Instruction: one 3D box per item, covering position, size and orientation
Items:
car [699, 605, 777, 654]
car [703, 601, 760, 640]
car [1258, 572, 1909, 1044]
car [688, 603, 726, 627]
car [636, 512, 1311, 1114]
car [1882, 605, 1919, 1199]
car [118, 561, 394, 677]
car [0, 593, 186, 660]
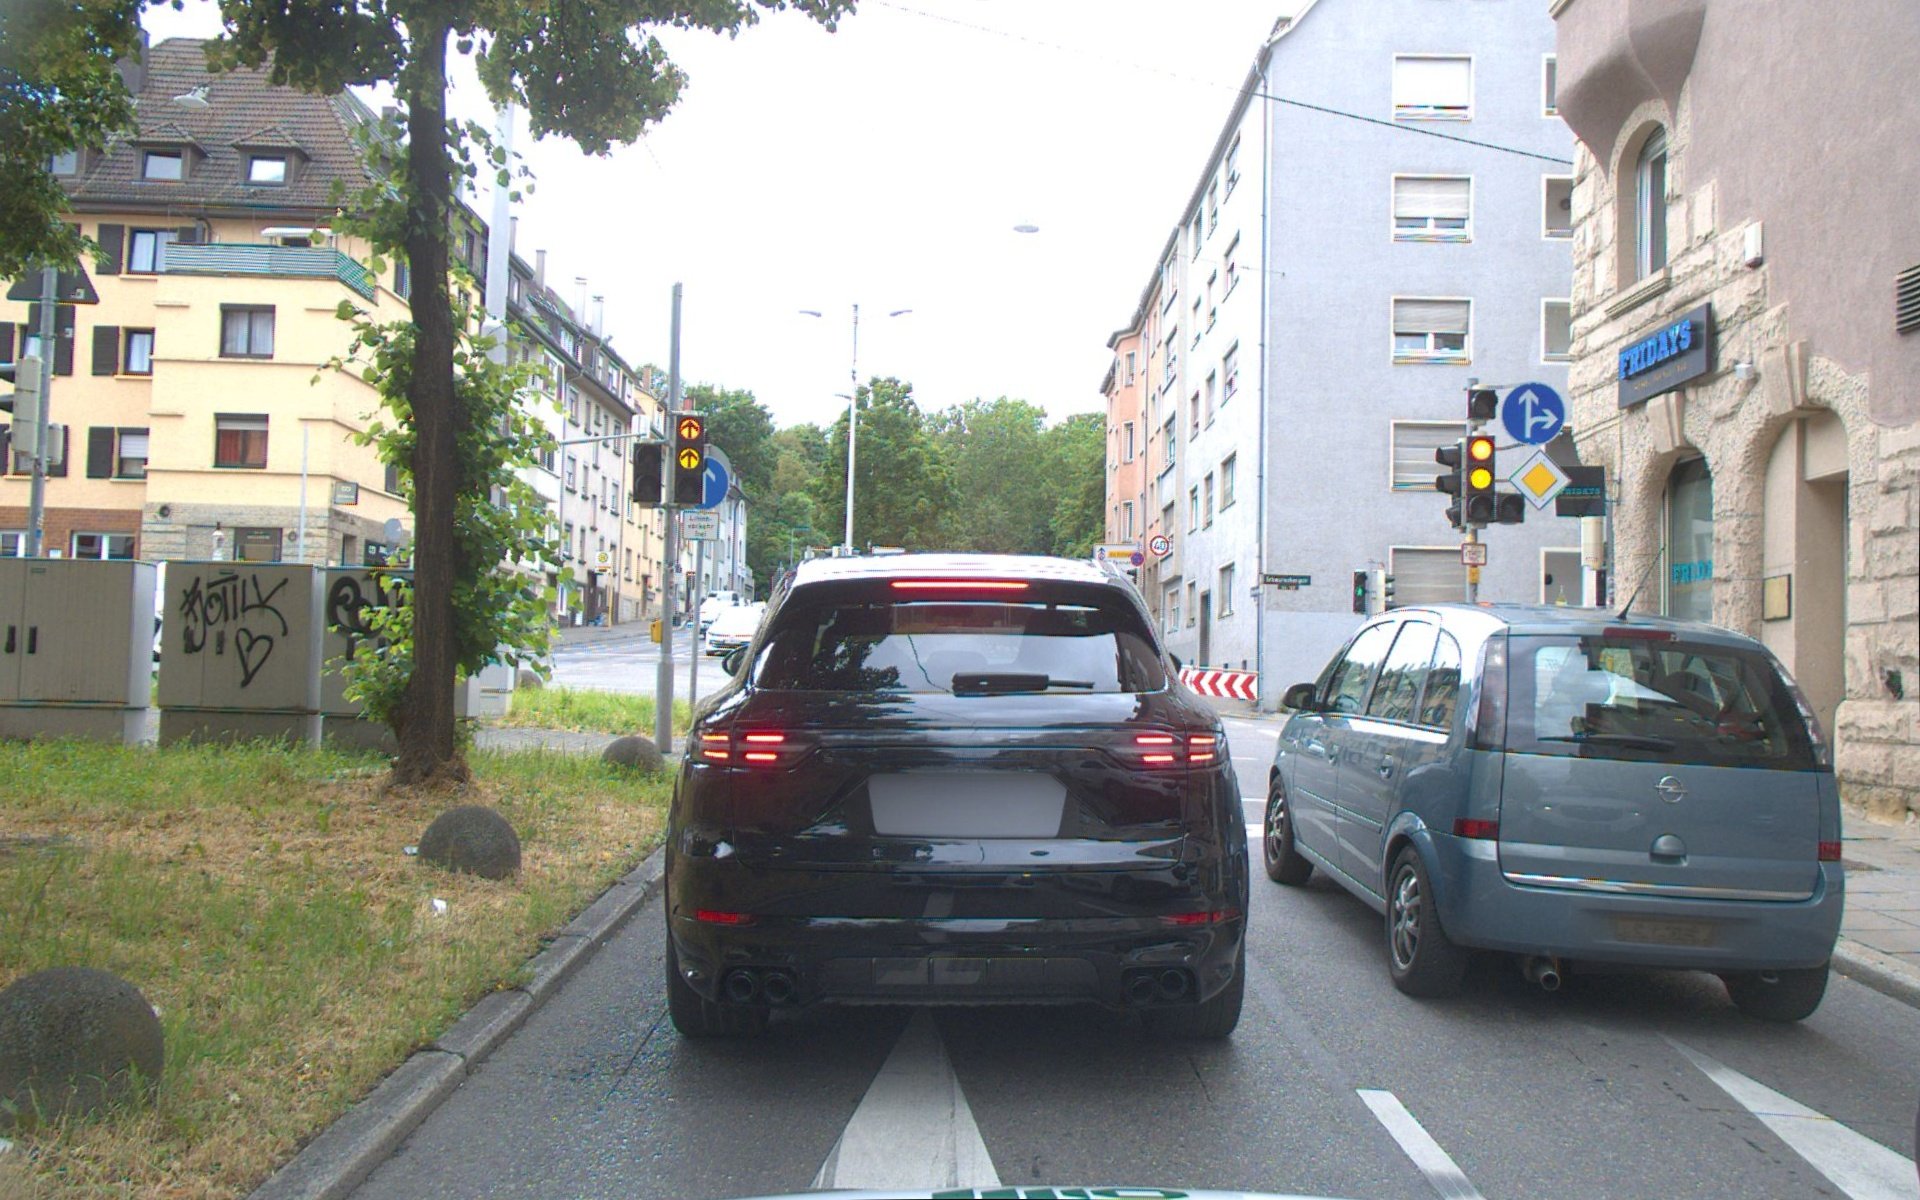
[{"bbox_3d":[-6.713,0.876,50.463,1.824,1.412,4.094,1,0,0],"label":"car"},{"bbox_3d":[-9.105,0.835,66.185,1.585,1.506,3.824,1,-1,3],"label":"car"},{"bbox_3d":[2.622,0.772,7.901,1.596,1.625,3.668,4,0,-1],"label":"car"},{"bbox_3d":[-15.104,0.893,98.907,1.703,1.411,3.813,1,0,0],"label":"car"},{"bbox_3d":[0.016,0.614,6.711,1.916,1.704,3.999,0,0,-1],"label":"car"},{"bbox_3d":[2.932,0.645,1.006,1.936,1.806,4.674,4,0,-2],"label":"car"},{"bbox_3d":[-10.968,0.284,26.187,1.932,1.638,4.561,1,0,7],"label":"car"},{"bbox_3d":[-18.255,0.540,33.799,1.620,1.301,4.106,1,0,44],"label":"car"}]
